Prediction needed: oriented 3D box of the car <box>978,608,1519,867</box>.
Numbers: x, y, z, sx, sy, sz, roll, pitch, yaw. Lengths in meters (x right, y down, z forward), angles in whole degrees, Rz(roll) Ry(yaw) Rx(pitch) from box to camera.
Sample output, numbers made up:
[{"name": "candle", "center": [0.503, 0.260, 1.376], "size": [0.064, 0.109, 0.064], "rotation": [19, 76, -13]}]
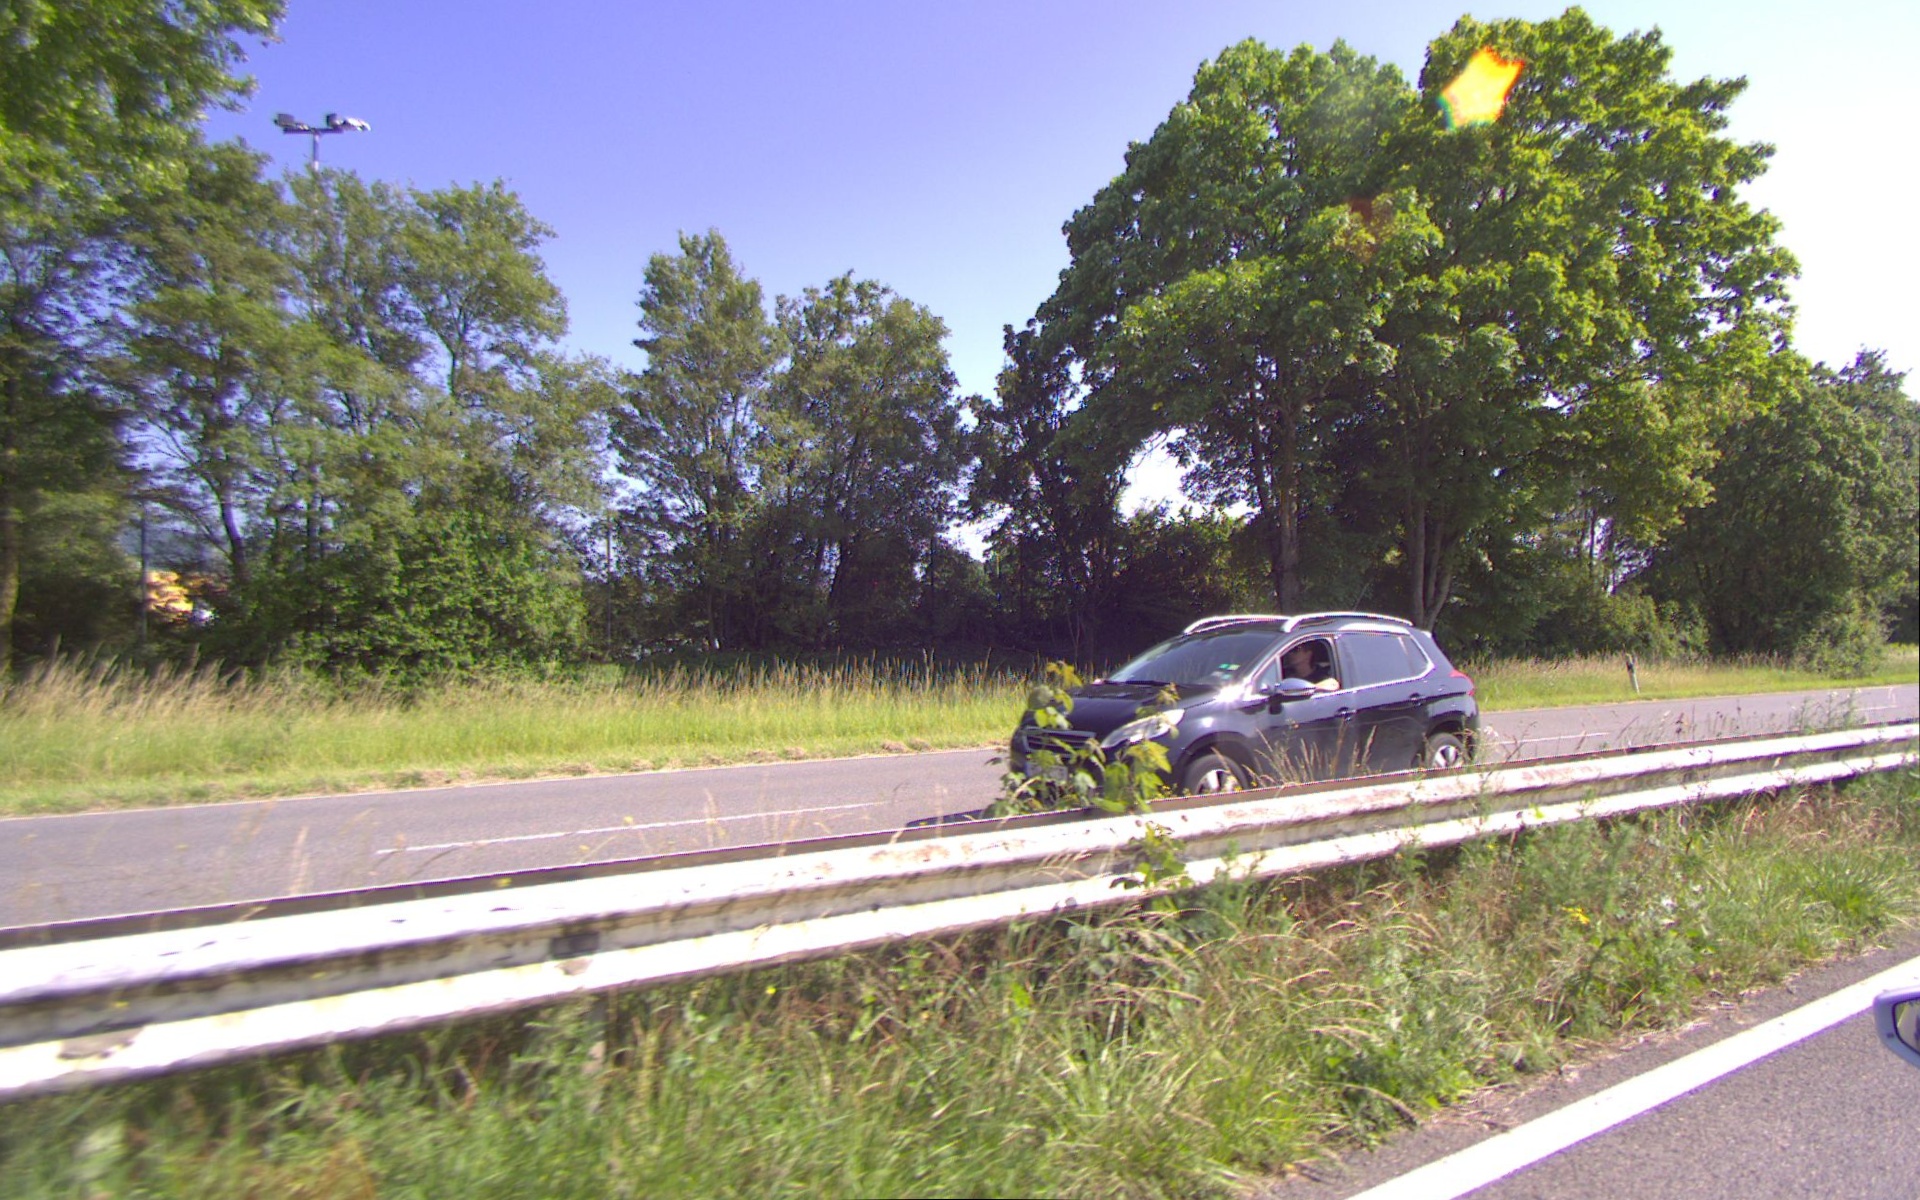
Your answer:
[{"name": "car", "center": [2.340, 0.900, 7.874], "size": [4.114, 1.550, 1.770], "rotation": [1, -3, -31]}]
